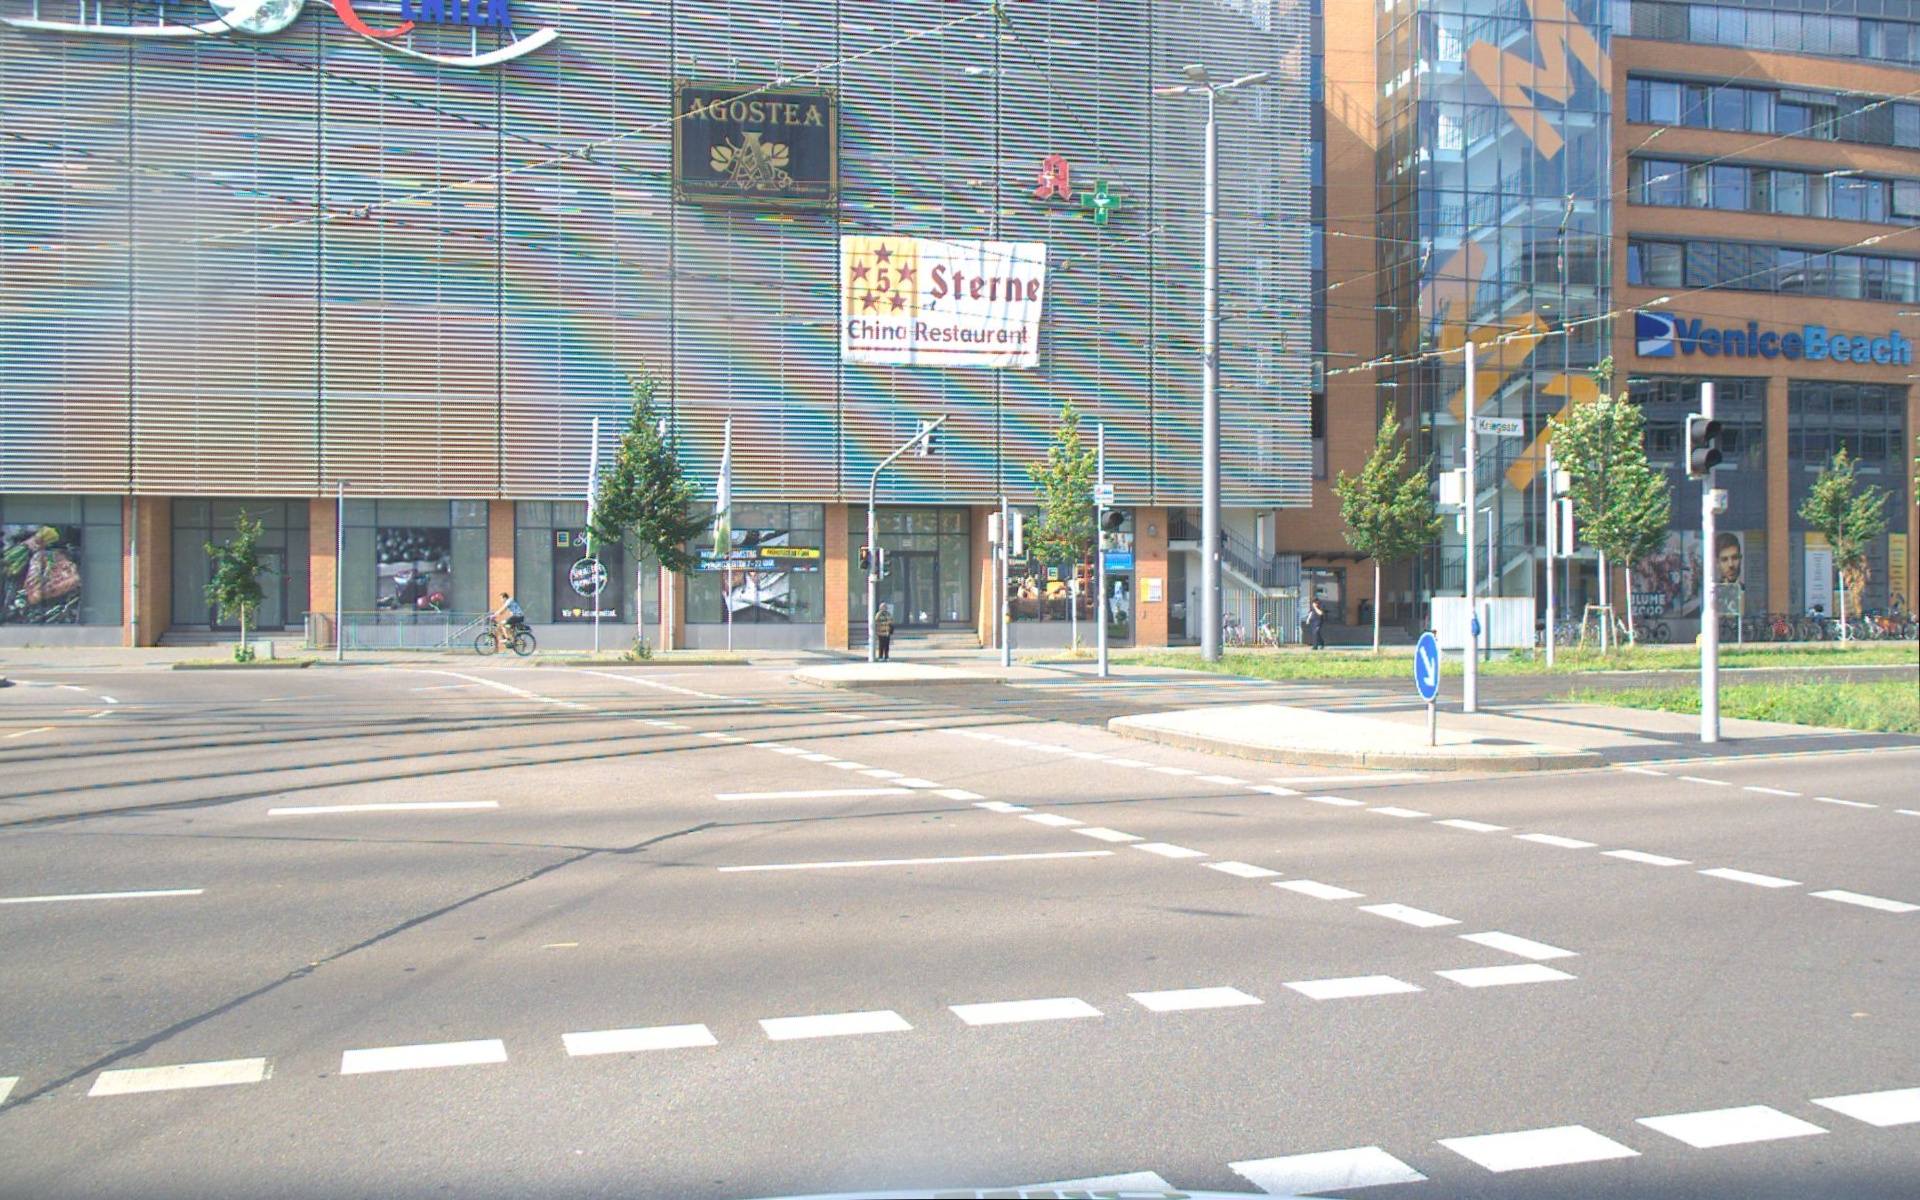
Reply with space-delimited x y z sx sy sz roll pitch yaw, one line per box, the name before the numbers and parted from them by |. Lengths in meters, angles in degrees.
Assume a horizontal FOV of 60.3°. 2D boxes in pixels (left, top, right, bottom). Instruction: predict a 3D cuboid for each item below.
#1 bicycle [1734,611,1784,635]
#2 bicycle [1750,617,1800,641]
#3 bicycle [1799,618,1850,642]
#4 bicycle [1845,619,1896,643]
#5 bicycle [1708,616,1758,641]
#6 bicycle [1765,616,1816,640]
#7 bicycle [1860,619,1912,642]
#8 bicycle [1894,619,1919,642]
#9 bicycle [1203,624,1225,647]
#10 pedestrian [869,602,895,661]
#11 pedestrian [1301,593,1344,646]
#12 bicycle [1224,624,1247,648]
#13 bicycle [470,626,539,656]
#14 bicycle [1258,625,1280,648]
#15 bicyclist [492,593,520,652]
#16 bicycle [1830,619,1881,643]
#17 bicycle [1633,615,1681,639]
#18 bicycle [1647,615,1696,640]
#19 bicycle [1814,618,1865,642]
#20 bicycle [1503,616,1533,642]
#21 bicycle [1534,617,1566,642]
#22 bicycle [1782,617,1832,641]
bicycle | 31.780 0.920 65.843 0.562 0.938 2.045 0 0 -16
bicycle | 32.557 1.148 66.119 0.562 0.938 2.045 0 0 -16
bicycle | 34.993 1.197 66.979 0.562 0.938 2.045 0 0 -16
bicycle | 37.381 1.267 67.926 0.562 0.938 2.045 0 0 -16
bicycle | 30.556 1.125 65.407 0.562 0.938 2.045 0 0 -16
bicycle | 33.352 1.126 66.440 0.562 0.938 2.045 0 0 -16
bicycle | 38.206 1.253 68.249 0.562 0.938 2.045 0 0 -16
bicycle | 39.812 1.278 68.604 0.562 0.938 2.045 0 0 -16
bicycle | 8.450 1.182 55.015 0.442 0.765 1.004 0 0 -10
pedestrian | -2.156 0.876 45.631 0.578 1.607 0.760 0 -1 -16
pedestrian | 12.039 0.638 54.992 1.152 1.749 0.817 0 0 -12
bicycle | 9.202 1.194 55.175 0.442 0.765 1.004 0 0 -10
bicycle | -12.979 1.168 47.185 1.829 0.793 0.581 1 -1 -10
bicycle | 10.346 1.213 55.402 0.353 0.765 1.022 0 0 -10
bicyclist | -12.962 0.655 47.199 0.700 1.658 0.567 1 -1 -13
bicycle | 36.571 1.245 67.589 0.562 0.938 2.045 0 0 -16
bicycle | 27.104 1.039 64.372 0.562 0.938 2.045 0 0 -16
bicycle | 27.784 1.057 64.619 0.562 0.938 2.045 0 0 -16
bicycle | 35.774 1.218 67.314 0.562 0.938 2.045 0 0 -16
bicycle | 19.994 1.036 59.249 0.252 0.902 1.462 1 -1 -15
bicycle | 21.240 1.062 59.558 0.252 0.845 1.462 1 1 -15
bicycle | 34.136 1.170 66.700 0.562 0.938 2.045 0 0 -16
